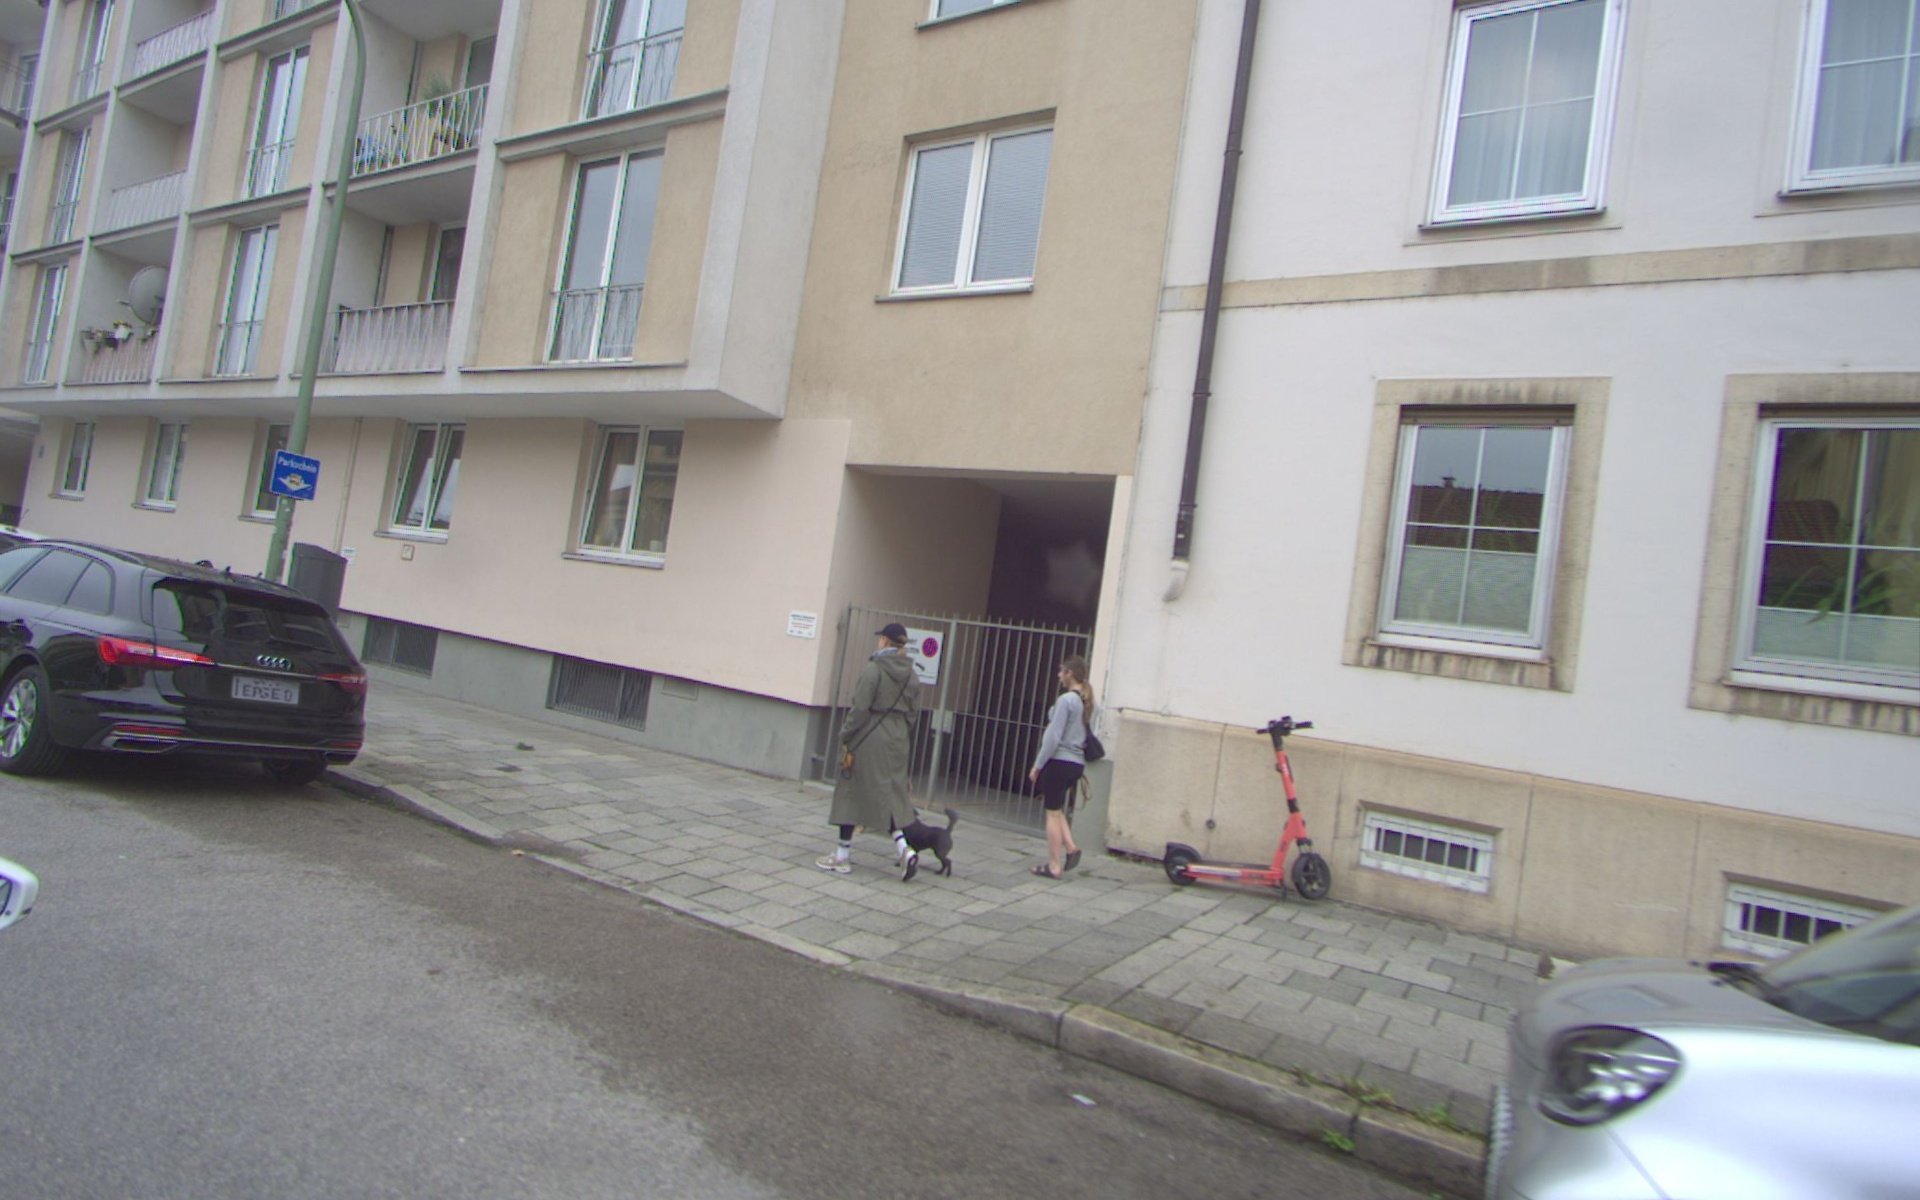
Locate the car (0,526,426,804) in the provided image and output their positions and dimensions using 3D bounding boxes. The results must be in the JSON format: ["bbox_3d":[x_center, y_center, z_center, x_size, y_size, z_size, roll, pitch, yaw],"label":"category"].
[{"bbox_3d":[-6.240,0.342,7.430,4.406,1.434,1.804,7,-6,30],"label":"car"}]

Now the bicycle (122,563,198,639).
[{"bbox_3d":[-12.627,0.013,15.865,1.378,1.036,0.390,7,-1,31],"label":"bicycle"}]

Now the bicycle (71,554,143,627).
[{"bbox_3d":[-14.008,-0.158,16.511,1.378,1.036,0.390,7,-1,31],"label":"bicycle"}]

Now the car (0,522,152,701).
[{"bbox_3d":[-10.294,-0.110,10.158,4.147,1.514,1.746,7,-6,30],"label":"car"}]

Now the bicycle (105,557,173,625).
[{"bbox_3d":[-14.375,-0.165,17.600,1.378,1.036,0.390,7,-1,31],"label":"bicycle"}]

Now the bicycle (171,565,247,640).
[{"bbox_3d":[-11.955,0.033,15.999,1.378,1.036,0.390,7,-1,31],"label":"bicycle"}]

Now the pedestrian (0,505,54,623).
[{"bbox_3d":[-14.786,-0.606,15.365,1.297,1.707,0.900,7,-2,30],"label":"pedestrian"}]

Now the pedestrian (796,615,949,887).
[{"bbox_3d":[-0.583,0.983,6.801,0.620,1.674,0.597,7,0,31],"label":"pedestrian"}]

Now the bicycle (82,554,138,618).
[{"bbox_3d":[-15.395,-0.251,18.220,0.985,1.036,0.374,7,-1,31],"label":"bicycle"}]

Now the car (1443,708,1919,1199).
[{"bbox_3d":[3.060,1.326,1.790,3.817,1.550,1.678,7,-5,32],"label":"car"}]

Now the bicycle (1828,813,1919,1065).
[{"bbox_3d":[5.721,1.868,4.956,1.994,1.177,0.660,7,-1,32],"label":"bicycle"}]

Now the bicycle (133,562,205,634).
[{"bbox_3d":[-13.206,-0.035,16.787,1.378,1.036,0.390,7,-1,31],"label":"bicycle"}]

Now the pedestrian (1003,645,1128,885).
[{"bbox_3d":[0.772,1.166,7.321,0.551,1.604,0.532,7,0,31],"label":"pedestrian"}]

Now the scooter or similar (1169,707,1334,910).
[{"bbox_3d":[2.123,1.464,7.300,1.020,1.267,0.601,3,-2,23],"label":"scooter or similar"}]
